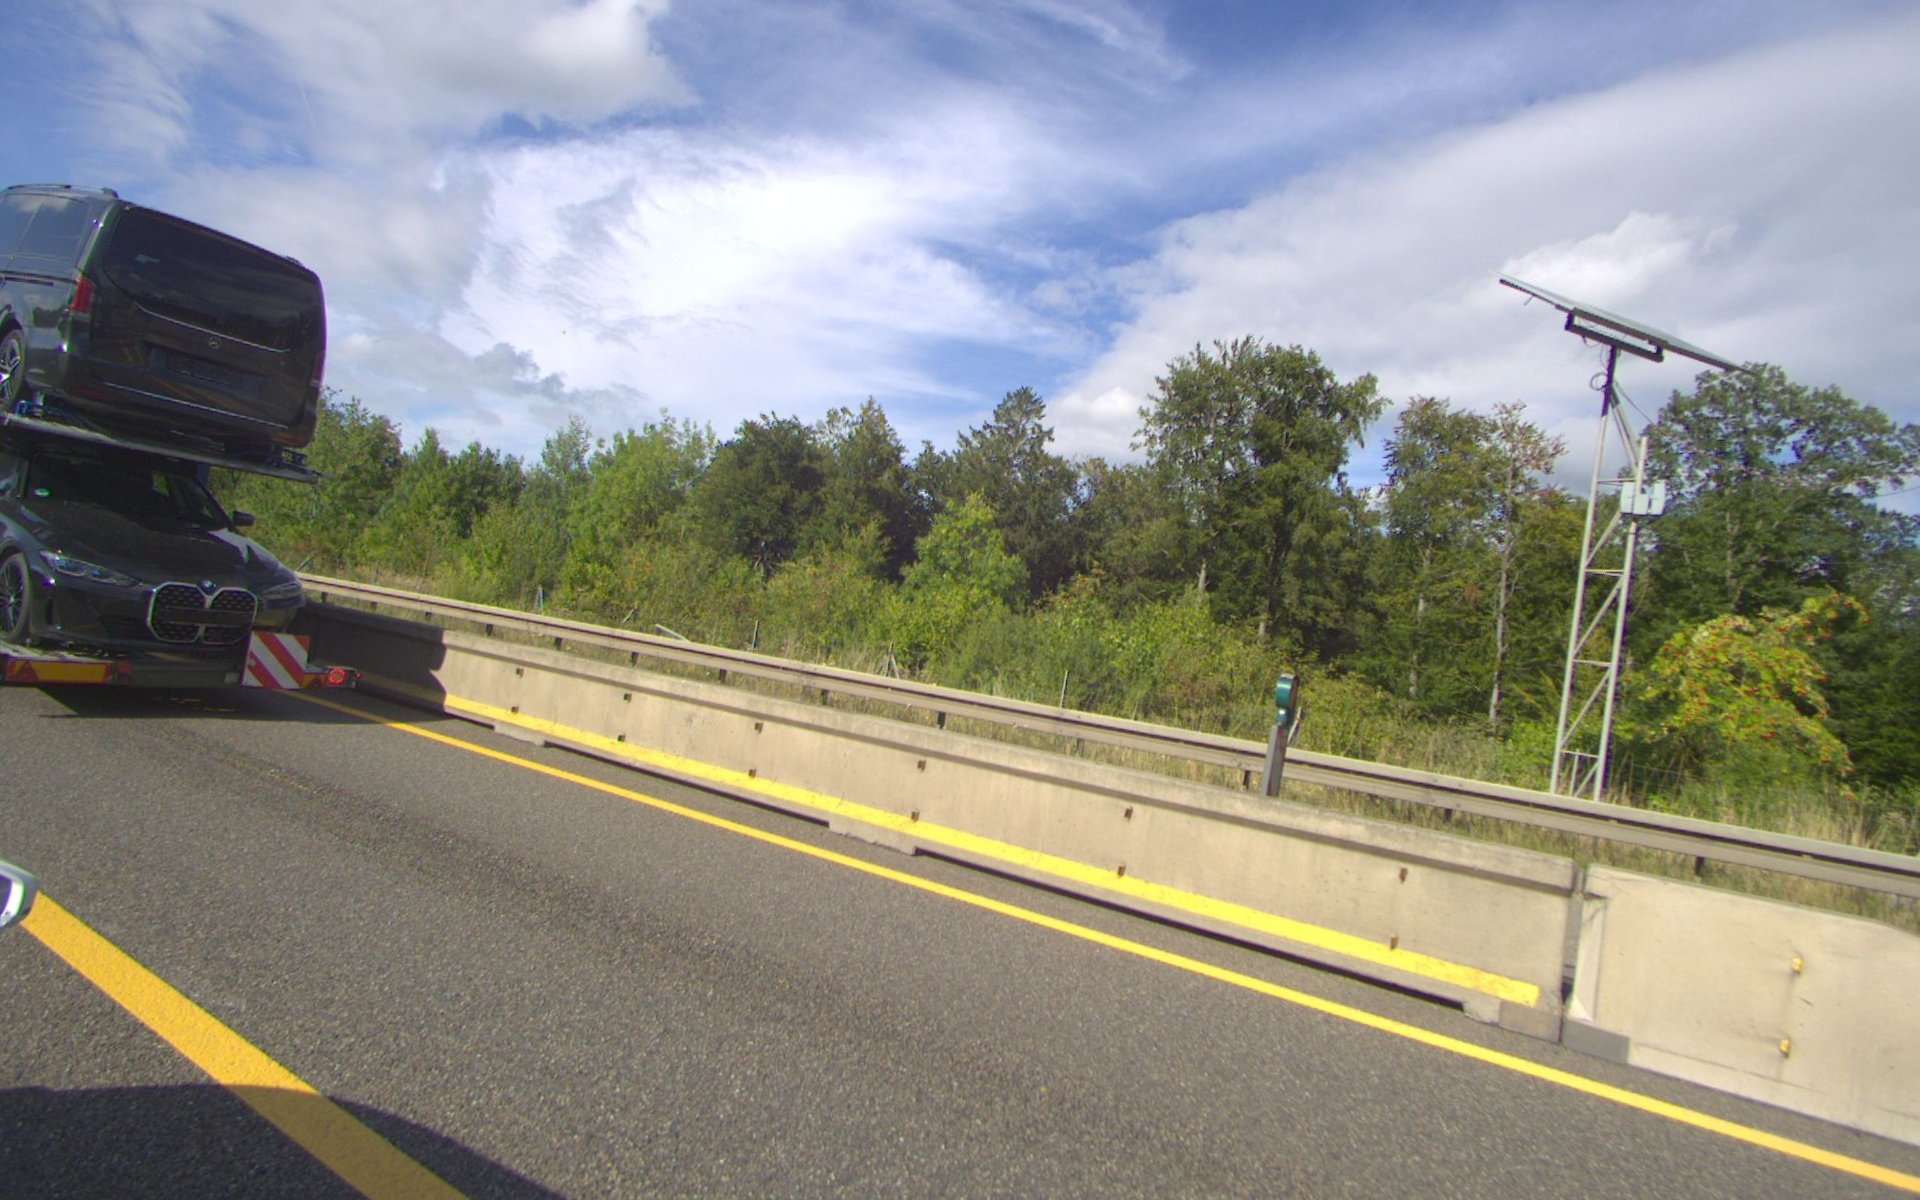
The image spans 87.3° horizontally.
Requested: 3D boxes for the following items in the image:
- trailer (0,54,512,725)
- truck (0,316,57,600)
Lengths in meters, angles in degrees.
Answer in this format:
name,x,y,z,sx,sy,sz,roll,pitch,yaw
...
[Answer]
name,x,y,z,sx,sy,sz,roll,pitch,yaw
trailer,-12.091,-1.917,12.042,15.961,4.245,3.733,7,-2,32
truck,-18.623,-2.668,16.197,7.820,4.245,3.768,7,-1,32
